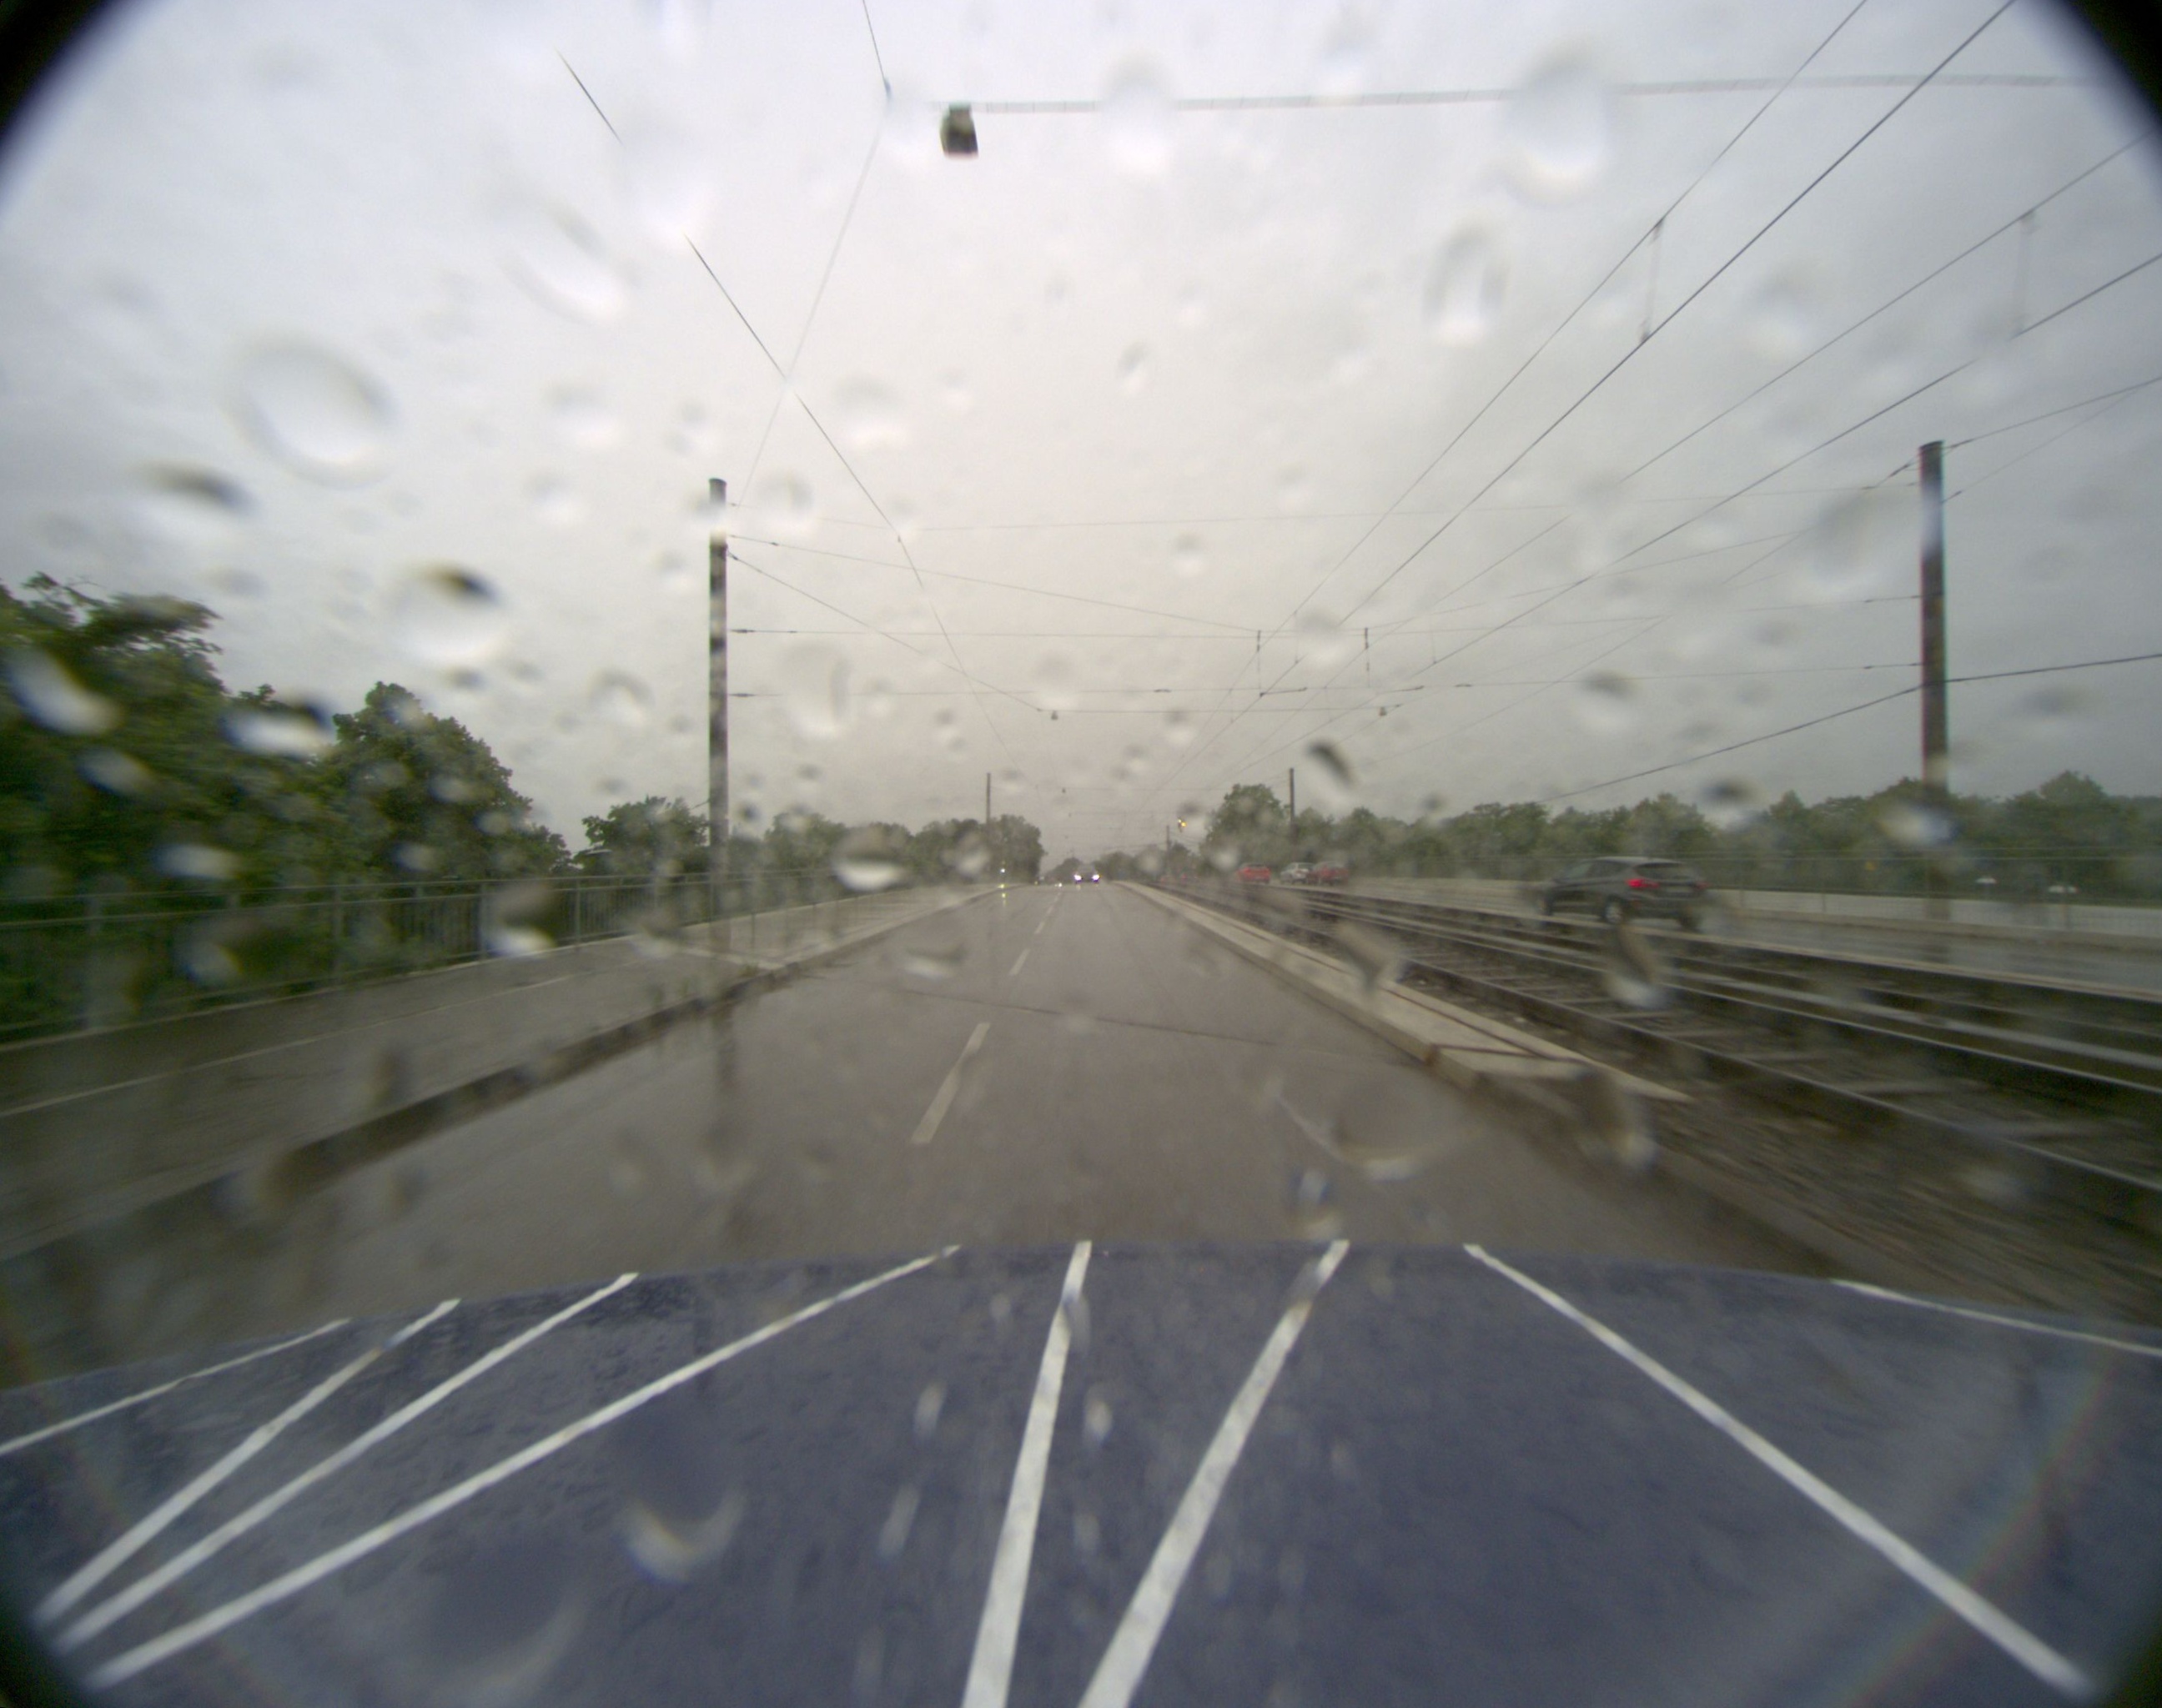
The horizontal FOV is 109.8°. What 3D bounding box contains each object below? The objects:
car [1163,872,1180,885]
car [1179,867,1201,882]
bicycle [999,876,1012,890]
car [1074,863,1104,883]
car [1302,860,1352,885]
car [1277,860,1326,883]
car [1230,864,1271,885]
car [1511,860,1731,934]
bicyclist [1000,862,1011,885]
[{"bbox_3d":[12.393,3.398,104.199,1.822,1.644,4.001,-3,-1,0],"label":"car"},{"bbox_3d":[11.873,2.232,83.118,1.804,1.473,4.084,-3,-1,0],"label":"car"},{"bbox_3d":[-6.023,2.316,60.775,0.725,1.122,2.168,-3,-2,0],"label":"bicycle"},{"bbox_3d":[0.618,1.568,62.366,1.999,1.496,4.196,-2,-2,-4],"label":"car"},{"bbox_3d":[15.148,1.111,46.927,1.624,1.447,4.323,1,-1,-1],"label":"car"},{"bbox_3d":[15.236,1.208,52.704,1.999,1.447,4.621,1,-1,-1],"label":"car"},{"bbox_3d":[11.274,1.352,50.805,1.804,1.308,4.084,-3,-1,0],"label":"car"},{"bbox_3d":[11.721,0.982,16.942,1.820,1.359,4.268,-3,-4,1],"label":"car"},{"bbox_3d":[-6.058,1.548,60.776,0.727,1.753,0.949,-3,-1,0],"label":"bicyclist"}]
